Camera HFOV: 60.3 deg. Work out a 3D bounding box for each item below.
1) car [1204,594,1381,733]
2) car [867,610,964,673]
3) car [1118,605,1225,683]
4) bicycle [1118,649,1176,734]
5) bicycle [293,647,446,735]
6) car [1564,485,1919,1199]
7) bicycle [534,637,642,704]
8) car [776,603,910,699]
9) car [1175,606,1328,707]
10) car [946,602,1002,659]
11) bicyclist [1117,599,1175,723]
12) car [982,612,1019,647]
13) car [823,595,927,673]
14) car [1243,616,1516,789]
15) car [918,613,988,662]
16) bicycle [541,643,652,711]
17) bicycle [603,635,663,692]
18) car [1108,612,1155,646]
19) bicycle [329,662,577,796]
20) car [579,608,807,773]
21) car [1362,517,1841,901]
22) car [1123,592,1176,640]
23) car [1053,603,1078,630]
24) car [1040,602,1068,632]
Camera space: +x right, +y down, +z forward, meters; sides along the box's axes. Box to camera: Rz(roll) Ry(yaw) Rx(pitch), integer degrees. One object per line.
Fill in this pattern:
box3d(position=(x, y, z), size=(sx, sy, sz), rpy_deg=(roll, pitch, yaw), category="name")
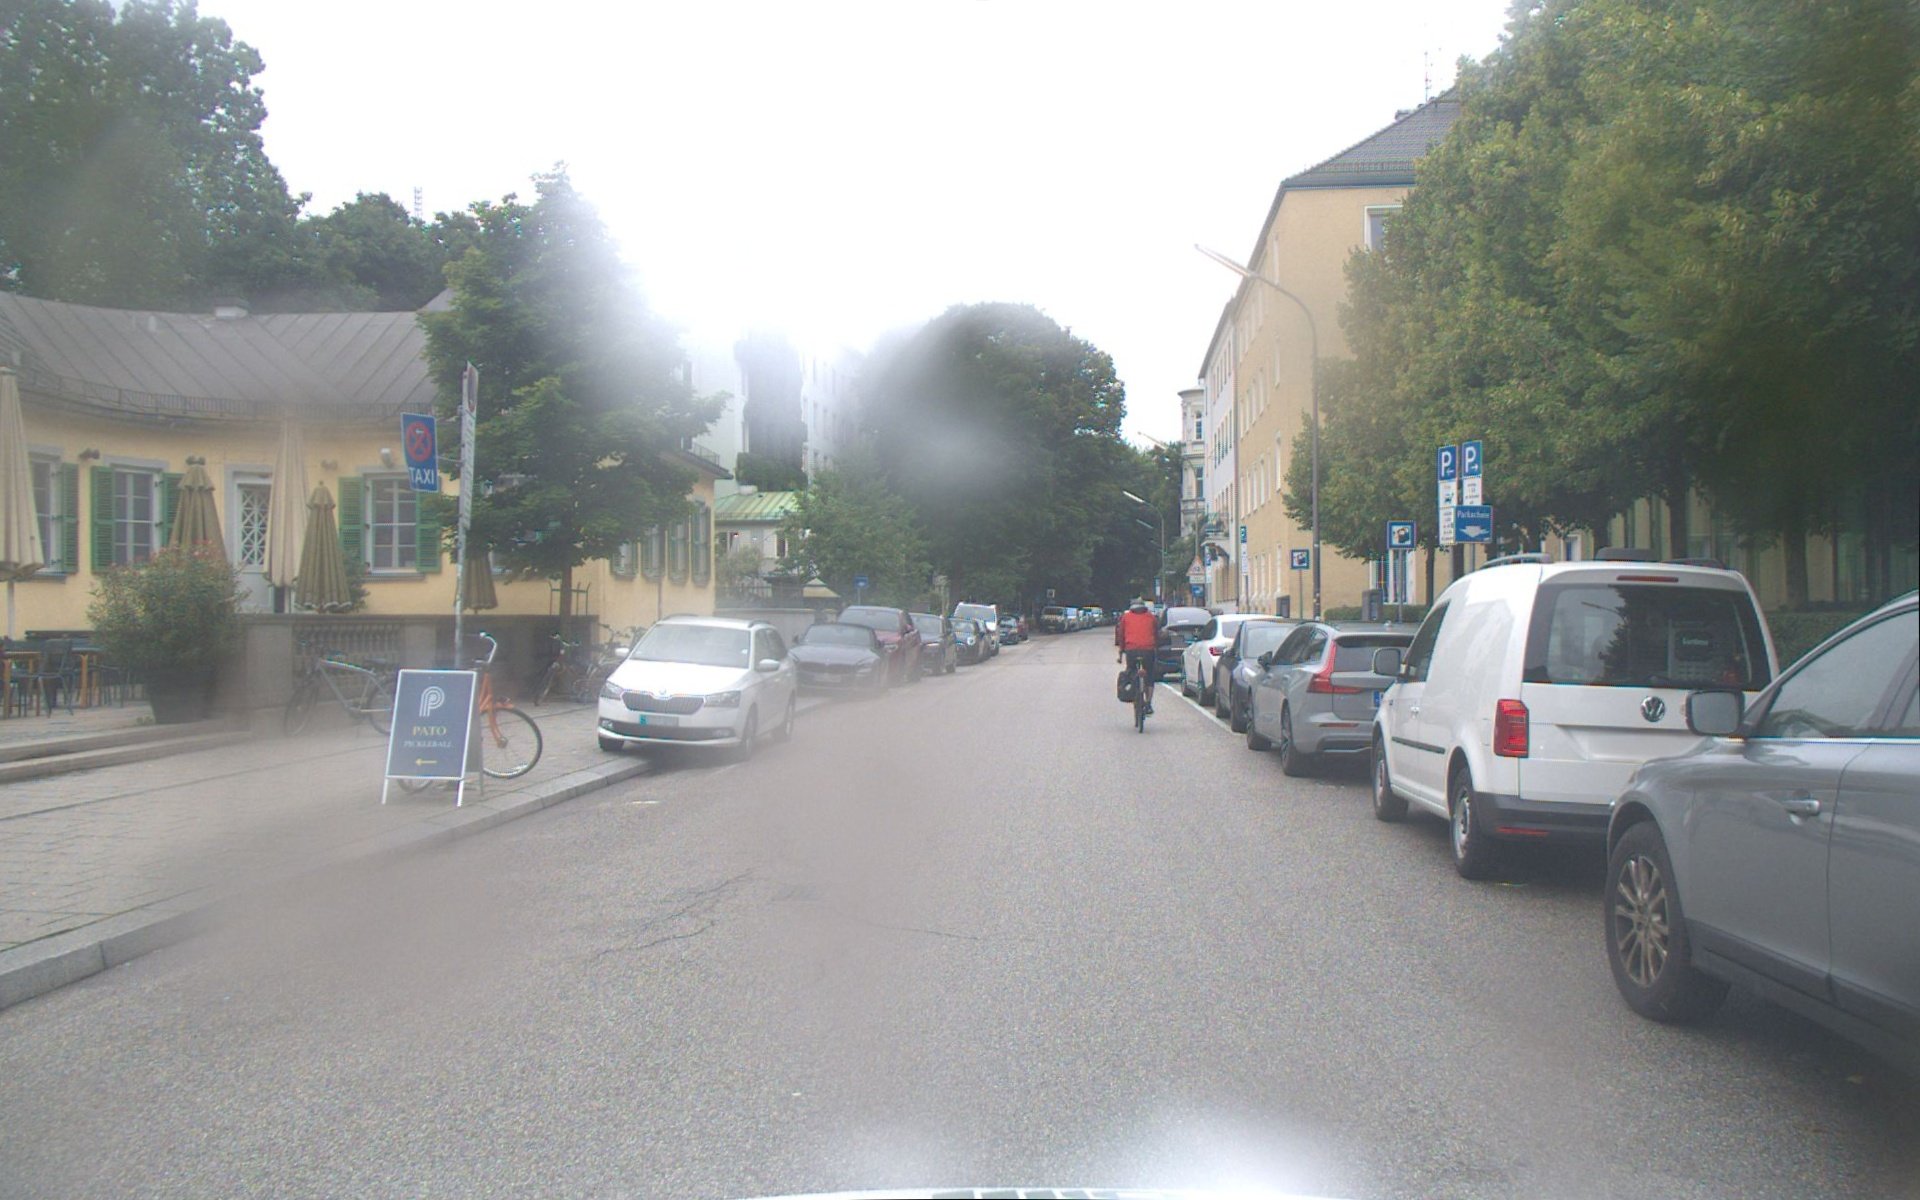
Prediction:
box3d(position=(4.392, 0.796, 22.387), size=(1.824, 1.705, 3.904), rpy_deg=(0, 0, 3), category="car")
box3d(position=(-1.106, 1.048, 43.521), size=(1.951, 1.512, 4.003), rpy_deg=(2, 0, 7), category="car")
box3d(position=(4.656, 0.944, 36.931), size=(1.952, 1.646, 4.000), rpy_deg=(0, 0, 1), category="car")
box3d(position=(2.351, 1.134, 21.013), size=(0.608, 1.022, 2.141), rpy_deg=(-1, -2, 3), category="bicycle")
box3d(position=(-6.682, 1.015, 18.724), size=(1.592, 0.942, 0.646), rpy_deg=(0, -2, -24), category="bicycle")
box3d(position=(3.353, 0.619, 4.729), size=(1.824, 1.825, 4.511), rpy_deg=(0, 0, 3), category="car")
box3d(position=(-6.011, 1.130, 26.764), size=(1.600, 1.022, 0.616), rpy_deg=(-1, -2, -35), category="bicycle")
box3d(position=(-2.134, 0.912, 31.475), size=(1.952, 1.677, 4.657), rpy_deg=(0, 0, 3), category="car")
box3d(position=(4.833, 0.902, 27.964), size=(1.952, 1.579, 4.000), rpy_deg=(0, 0, 1), category="car")
box3d(position=(0.564, 1.129, 62.964), size=(1.952, 2.116, 4.001), rpy_deg=(0, 0, 3), category="car")
box3d(position=(2.349, 0.775, 21.006), size=(0.657, 1.524, 1.095), rpy_deg=(0, -2, 3), category="bicyclist")
box3d(position=(2.121, 1.514, 85.713), size=(1.772, 1.712, 4.001), rpy_deg=(0, 0, 3), category="car")
box3d(position=(-1.813, 0.750, 36.563), size=(1.952, 1.631, 4.001), rpy_deg=(0, -1, 2), category="car")
box3d(position=(3.996, 0.906, 16.459), size=(1.824, 1.465, 4.257), rpy_deg=(1, 0, 3), category="car")
box3d(position=(-0.187, 1.204, 54.388), size=(1.951, 1.512, 4.002), rpy_deg=(0, 0, 5), category="car")
box3d(position=(-5.604, 1.178, 25.483), size=(1.592, 1.022, 0.619), rpy_deg=(0, -2, -24), category="bicycle")
box3d(position=(-6.042, 1.174, 30.647), size=(0.608, 1.022, 1.620), rpy_deg=(0, -2, 6), category="bicycle")
box3d(position=(8.187, 1.383, 79.192), size=(1.952, 1.579, 4.000), rpy_deg=(0, 0, 1), category="car")
box3d(position=(-4.358, 1.079, 14.391), size=(0.611, 1.021, 2.133), rpy_deg=(2, 0, 33), category="bicycle")
box3d(position=(-2.919, 0.946, 18.891), size=(1.697, 1.609, 3.789), rpy_deg=(3, 0, 4), category="car")
box3d(position=(3.832, 0.573, 10.695), size=(1.713, 1.977, 4.229), rpy_deg=(0, 0, 4), category="car")
box3d(position=(8.428, 0.704, 73.831), size=(1.952, 2.096, 4.624), rpy_deg=(0, 0, 1), category="car")
box3d(position=(8.612, 1.369, 134.886), size=(1.952, 2.049, 4.002), rpy_deg=(2, -1, 4), category="car")
box3d(position=(7.020, 1.267, 123.361), size=(1.952, 2.135, 4.001), rpy_deg=(2, 0, 3), category="car")
